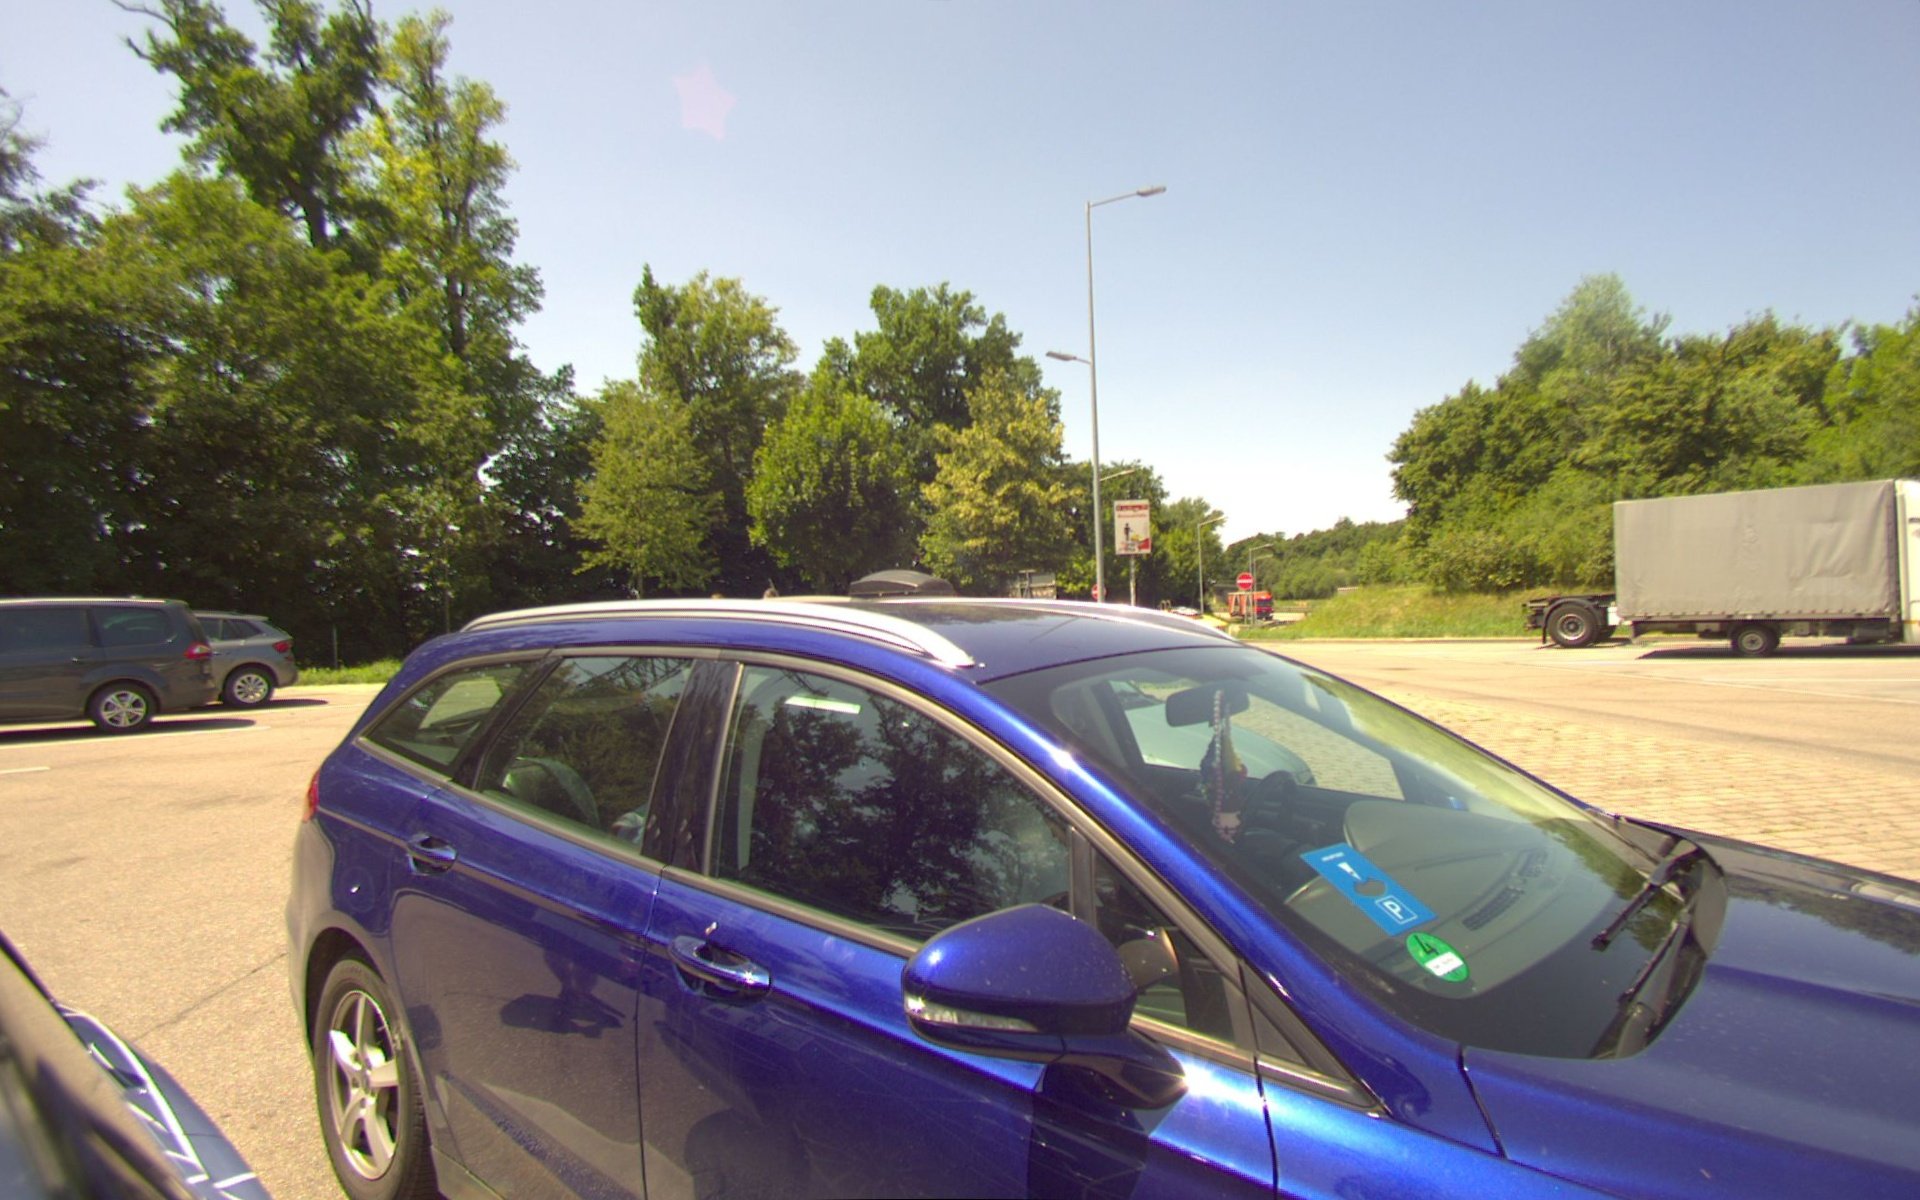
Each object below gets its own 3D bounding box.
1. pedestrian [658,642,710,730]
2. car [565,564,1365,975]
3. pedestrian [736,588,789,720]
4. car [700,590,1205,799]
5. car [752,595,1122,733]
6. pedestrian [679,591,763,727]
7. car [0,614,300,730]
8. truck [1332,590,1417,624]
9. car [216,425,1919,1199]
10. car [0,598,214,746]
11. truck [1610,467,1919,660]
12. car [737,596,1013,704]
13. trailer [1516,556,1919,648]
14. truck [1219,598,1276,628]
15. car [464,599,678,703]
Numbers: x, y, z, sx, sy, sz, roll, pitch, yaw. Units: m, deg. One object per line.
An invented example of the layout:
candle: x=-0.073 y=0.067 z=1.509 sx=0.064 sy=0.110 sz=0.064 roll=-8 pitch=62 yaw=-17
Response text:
pedestrian: x=-3.450 y=1.058 z=12.649 sx=0.433 sy=1.052 sz=0.434 roll=-2 pitch=-1 yaw=35
car: x=-0.274 y=0.695 z=5.840 sx=4.490 sy=1.511 sz=1.754 roll=-3 pitch=-1 yaw=40
pedestrian: x=-2.739 y=0.722 z=13.981 sx=0.665 sy=1.746 sz=0.836 roll=-1 pitch=-1 yaw=-12
car: x=-0.261 y=0.750 z=9.215 sx=4.490 sy=1.437 sz=1.754 roll=-3 pitch=-1 yaw=40
car: x=-0.402 y=0.775 z=12.762 sx=4.485 sy=1.437 sz=1.756 roll=-3 pitch=-1 yaw=36
pedestrian: x=-3.081 y=0.741 z=13.047 sx=0.832 sy=1.676 sz=0.668 roll=-2 pitch=-1 yaw=36
car: x=-12.613 y=1.005 z=15.469 sx=1.687 sy=1.515 sz=3.943 roll=-1 pitch=0 yaw=43
truck: x=50.859 y=0.783 z=125.049 sx=2.570 sy=3.849 sz=16.338 roll=-1 pitch=0 yaw=-4
car: x=0.237 y=0.662 z=2.142 sx=4.490 sy=1.502 sz=1.851 roll=-3 pitch=0 yaw=40
car: x=-11.958 y=0.860 z=12.305 sx=4.553 sy=1.725 sz=1.741 roll=0 pitch=-1 yaw=-41
truck: x=16.811 y=-0.658 z=18.968 sx=7.295 sy=3.259 sz=2.709 roll=-4 pitch=-1 yaw=43
car: x=-1.494 y=0.826 z=16.862 sx=4.485 sy=1.562 sz=1.756 roll=-3 pitch=-1 yaw=36
trailer: x=17.237 y=0.123 z=23.396 sx=7.295 sy=1.701 sz=2.235 roll=-4 pitch=-1 yaw=43
truck: x=41.814 y=1.812 z=148.092 sx=3.087 sy=4.150 sz=15.411 roll=-1 pitch=0 yaw=-3
car: x=-7.146 y=0.868 z=19.194 sx=1.975 sy=1.725 sz=4.610 roll=-1 pitch=0 yaw=5
